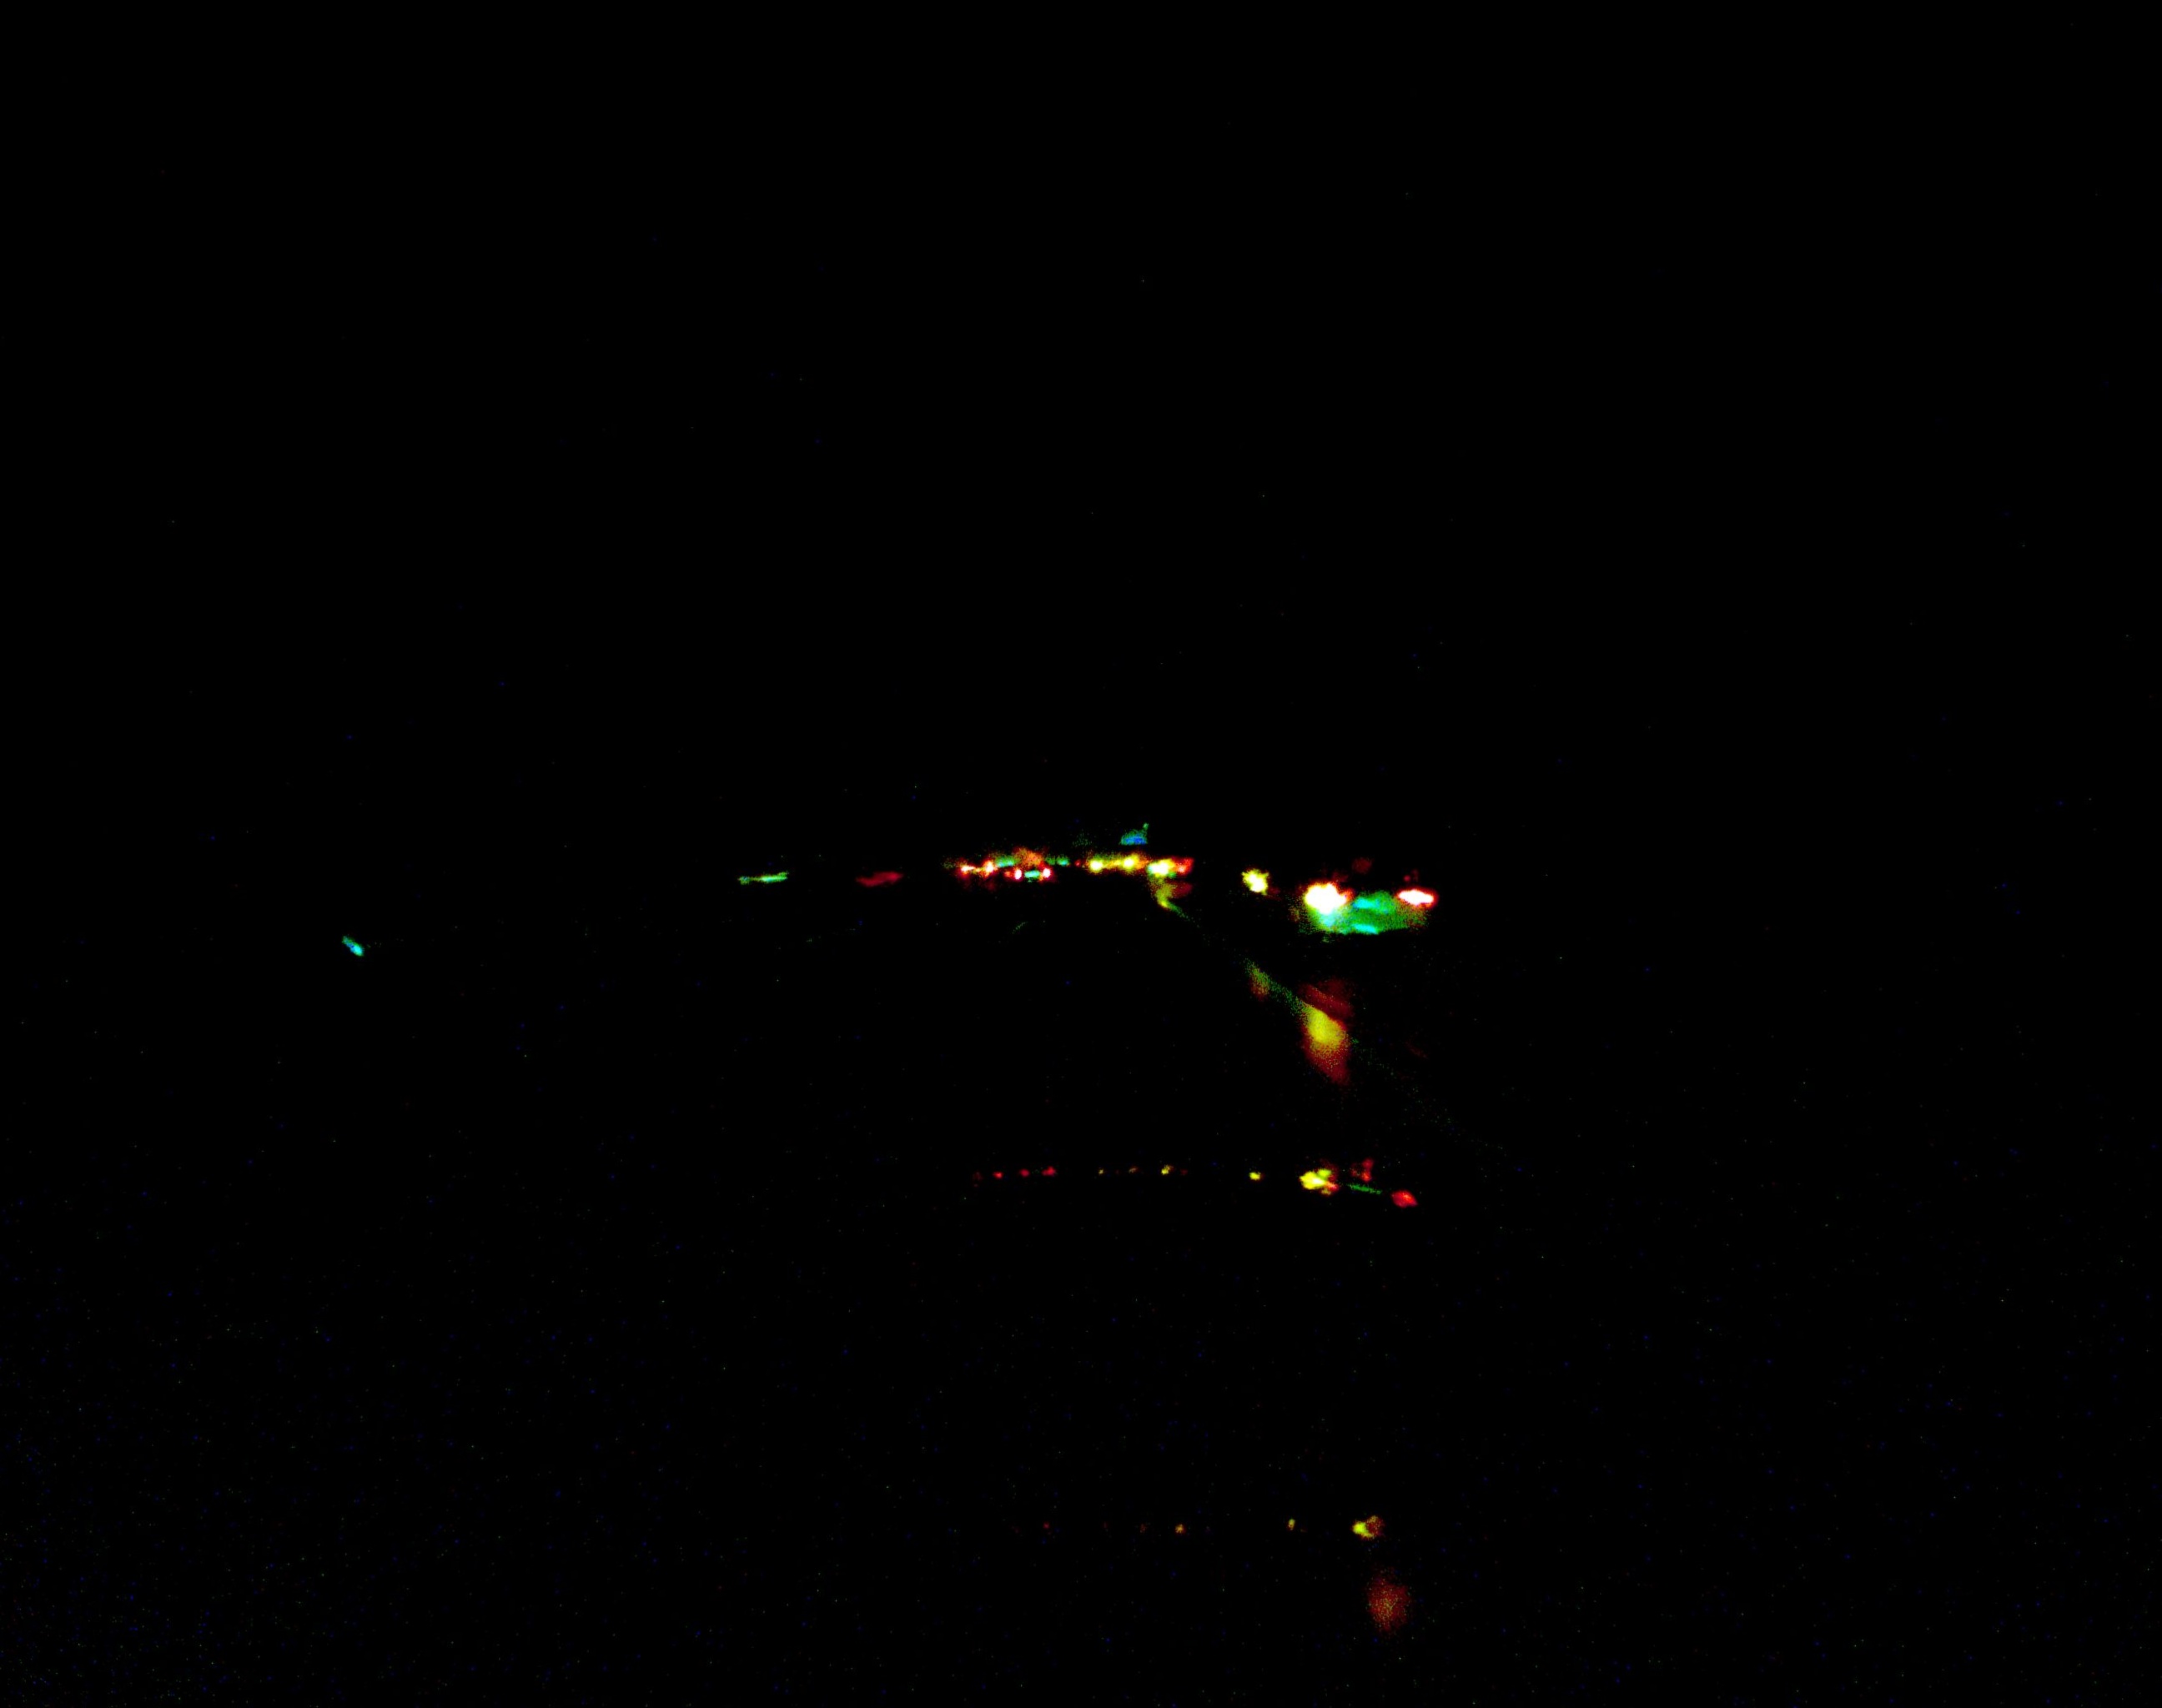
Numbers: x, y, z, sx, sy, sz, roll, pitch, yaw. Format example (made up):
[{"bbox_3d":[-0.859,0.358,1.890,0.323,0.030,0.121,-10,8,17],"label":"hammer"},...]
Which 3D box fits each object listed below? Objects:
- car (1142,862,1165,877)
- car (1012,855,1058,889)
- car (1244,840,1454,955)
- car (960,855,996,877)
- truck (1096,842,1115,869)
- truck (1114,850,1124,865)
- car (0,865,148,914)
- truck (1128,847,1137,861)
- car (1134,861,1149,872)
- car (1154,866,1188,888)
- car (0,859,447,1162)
[{"bbox_3d":[6.086,1.294,68.996,1.577,1.246,3.066,0,-1,-2],"label":"car"},{"bbox_3d":[-2.153,0.808,38.771,1.795,1.487,4.002,-1,0,2],"label":"car"},{"bbox_3d":[4.105,0.585,13.471,2.049,1.519,5.020,-1,0,3],"label":"car"},{"bbox_3d":[-6.420,0.770,51.195,1.657,1.236,3.760,-4,-2,0],"label":"car"},{"bbox_3d":[3.106,0.215,101.061,1.985,3.043,6.470,-4,-2,3],"label":"truck"},{"bbox_3d":[8.209,0.781,175.682,1.985,3.043,6.470,-4,-2,3],"label":"truck"},{"bbox_3d":[-41.220,1.392,32.693,1.982,1.771,4.579,-1,0,8],"label":"car"},{"bbox_3d":[12.489,-0.036,198.259,1.985,3.043,6.470,-4,-2,3],"label":"truck"},{"bbox_3d":[7.446,1.529,100.611,1.577,1.246,3.066,0,-1,-2],"label":"car"},{"bbox_3d":[5.330,1.339,48.343,1.577,1.246,3.066,0,-1,-2],"label":"car"},{"bbox_3d":[-6.491,0.831,4.670,1.851,1.541,4.753,-1,0,2],"label":"car"}]
